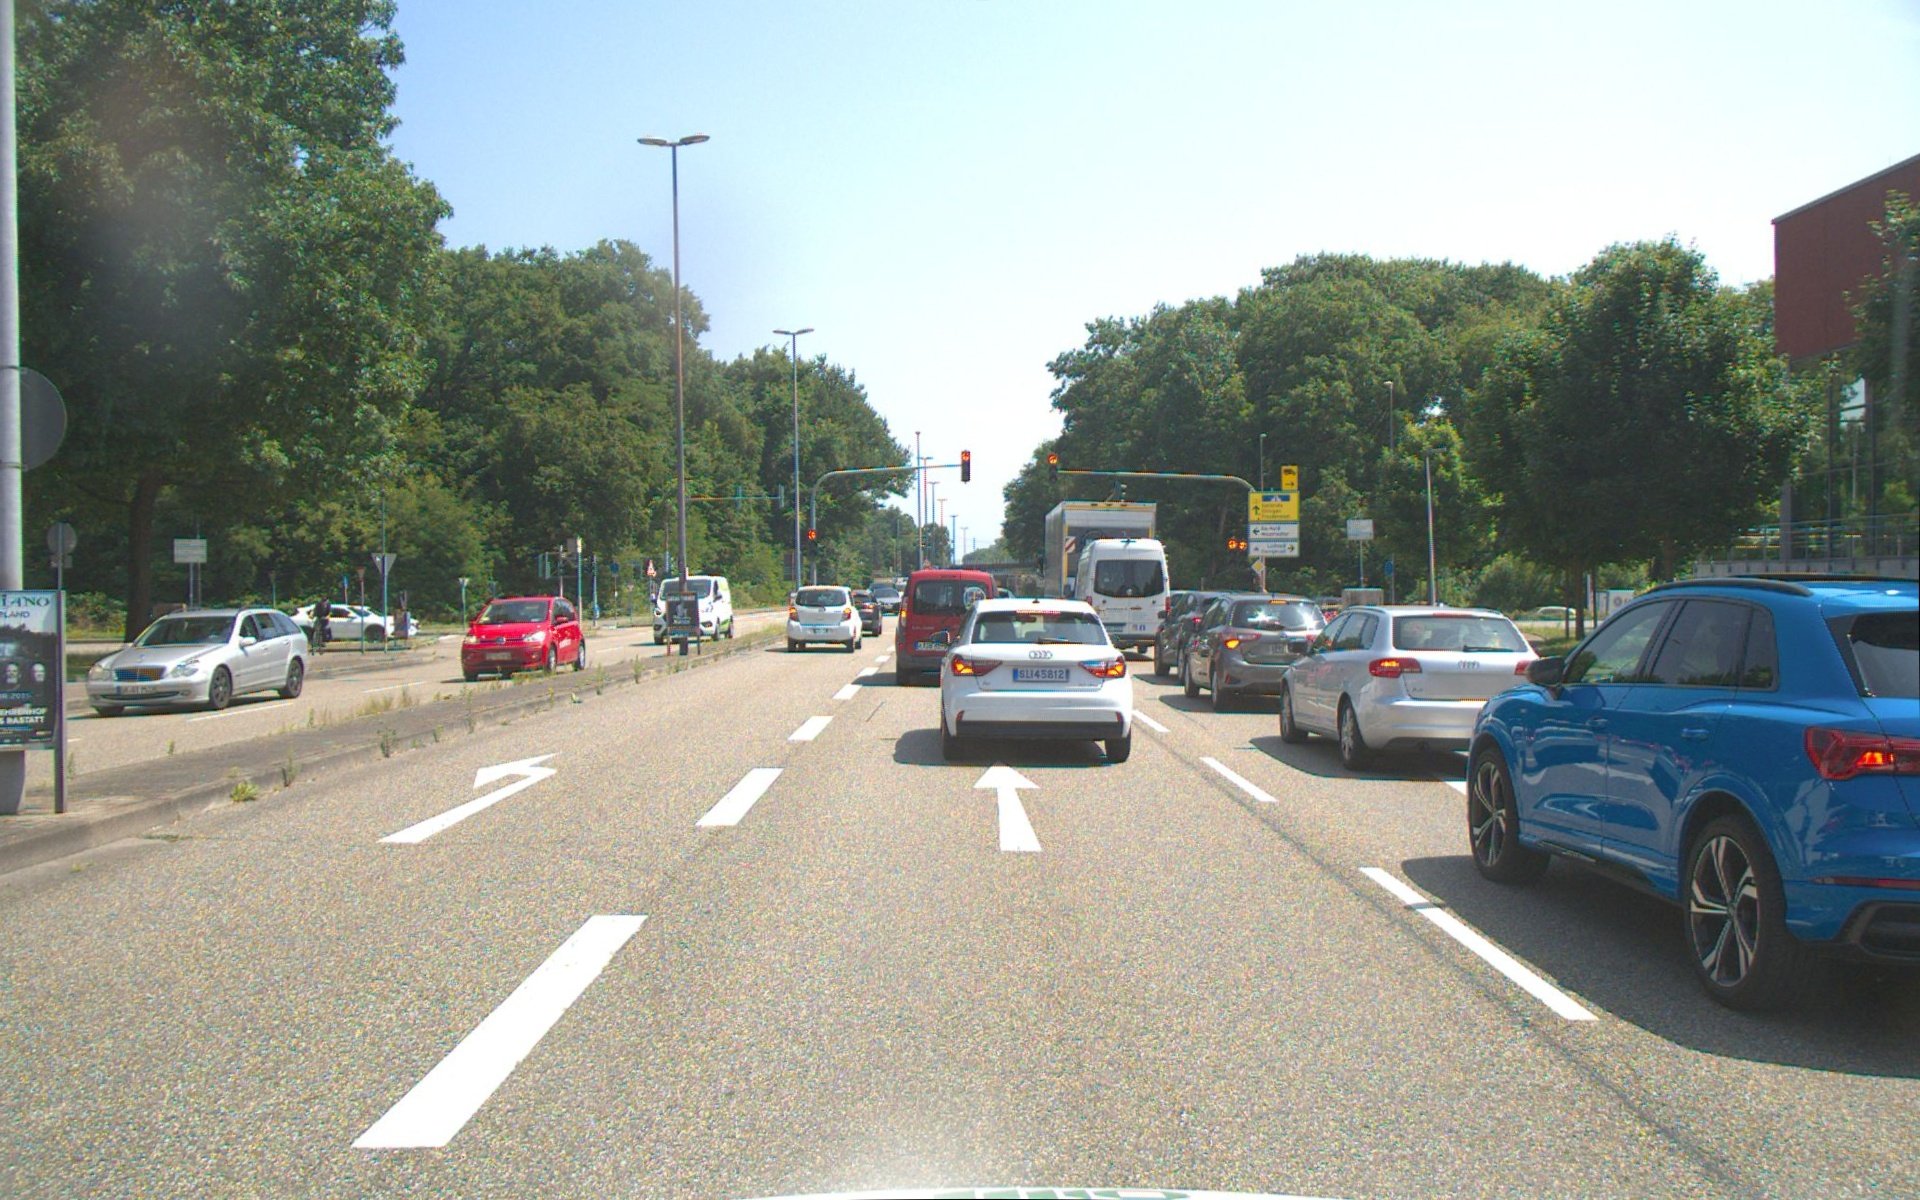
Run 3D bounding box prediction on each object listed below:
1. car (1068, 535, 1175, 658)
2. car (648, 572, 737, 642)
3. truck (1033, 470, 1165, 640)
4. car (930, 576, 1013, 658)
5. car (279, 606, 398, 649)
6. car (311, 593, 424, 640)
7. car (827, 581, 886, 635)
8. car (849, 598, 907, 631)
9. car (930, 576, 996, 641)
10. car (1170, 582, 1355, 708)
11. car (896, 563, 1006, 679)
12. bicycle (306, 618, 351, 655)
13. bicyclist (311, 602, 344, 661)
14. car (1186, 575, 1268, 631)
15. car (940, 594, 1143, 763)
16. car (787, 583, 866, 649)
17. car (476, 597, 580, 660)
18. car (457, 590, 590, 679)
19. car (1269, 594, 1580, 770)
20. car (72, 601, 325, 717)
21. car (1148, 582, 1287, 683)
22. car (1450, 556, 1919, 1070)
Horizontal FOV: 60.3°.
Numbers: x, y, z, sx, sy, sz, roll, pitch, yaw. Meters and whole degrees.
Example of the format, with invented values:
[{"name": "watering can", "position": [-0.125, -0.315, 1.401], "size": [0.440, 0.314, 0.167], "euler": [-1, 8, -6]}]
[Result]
[{"name": "car", "position": [3.701, -0.087, 38.747], "size": [1.989, 2.690, 4.844], "euler": [0, 0, -1]}, {"name": "car", "position": [-8.205, 0.180, 51.152], "size": [1.953, 1.979, 4.907], "euler": [-3, 1, -1]}, {"name": "truck", "position": [3.966, -1.241, 49.963], "size": [3.025, 4.511, 11.580], "euler": [1, 0, 0]}, {"name": "car", "position": [0.203, 0.335, 35.869], "size": [1.677, 1.660, 4.091], "euler": [0, 0, -1]}, {"name": "car", "position": [-25.770, 1.133, 68.716], "size": [4.288, 1.711, 1.807], "euler": [1, 0, -8]}, {"name": "car", "position": [-26.066, 0.700, 72.836], "size": [4.290, 1.710, 1.807], "euler": [-4, 0, -8]}, {"name": "car", "position": [-3.297, 0.221, 53.244], "size": [1.738, 1.670, 4.036], "euler": [0, 0, -1]}, {"name": "car", "position": [-4.435, 0.760, 89.109], "size": [1.848, 1.719, 3.970], "euler": [-1, 0, -24]}, {"name": "car", "position": [0.034, 0.209, 44.679], "size": [1.677, 1.660, 4.091], "euler": [0, 0, -1]}, {"name": "car", "position": [4.074, 0.558, 22.893], "size": [1.677, 1.504, 4.091], "euler": [3, 0, -1]}, {"name": "car", "position": [-0.186, 0.302, 27.460], "size": [1.677, 1.779, 4.091], "euler": [0, 0, -1]}, {"name": "bicycle", "position": [-19.506, 1.116, 51.098], "size": [0.641, 1.069, 1.884], "euler": [-1, 0, 0]}, {"name": "bicyclist", "position": [-19.514, 0.965, 51.047], "size": [0.636, 1.801, 0.928], "euler": [-1, 0, 0]}, {"name": "car", "position": [7.878, 0.066, 49.091], "size": [1.677, 1.573, 4.091], "euler": [0, 0, -1]}, {"name": "car", "position": [0.670, 0.657, 16.066], "size": [1.677, 1.410, 4.091], "euler": [0, 0, -1]}, {"name": "car", "position": [-3.195, 0.357, 40.224], "size": [1.677, 1.519, 4.091], "euler": [0, 0, -1]}, {"name": "car", "position": [-11.529, 0.736, 44.360], "size": [1.671, 1.477, 3.891], "euler": [-3, 0, 0]}, {"name": "car", "position": [-8.072, 0.593, 30.888], "size": [1.548, 1.466, 3.608], "euler": [-3, 1, -2]}, {"name": "car", "position": [4.181, 0.663, 15.558], "size": [1.677, 1.386, 4.091], "euler": [1, 0, -1]}, {"name": "car", "position": [-11.200, 0.808, 24.693], "size": [1.741, 1.428, 4.359], "euler": [-4, 1, -1]}, {"name": "car", "position": [4.384, 0.514, 28.679], "size": [1.677, 1.621, 4.091], "euler": [0, 0, -1]}, {"name": "car", "position": [3.770, 0.651, 7.440], "size": [1.800, 1.623, 4.399], "euler": [0, 0, -1]}]
